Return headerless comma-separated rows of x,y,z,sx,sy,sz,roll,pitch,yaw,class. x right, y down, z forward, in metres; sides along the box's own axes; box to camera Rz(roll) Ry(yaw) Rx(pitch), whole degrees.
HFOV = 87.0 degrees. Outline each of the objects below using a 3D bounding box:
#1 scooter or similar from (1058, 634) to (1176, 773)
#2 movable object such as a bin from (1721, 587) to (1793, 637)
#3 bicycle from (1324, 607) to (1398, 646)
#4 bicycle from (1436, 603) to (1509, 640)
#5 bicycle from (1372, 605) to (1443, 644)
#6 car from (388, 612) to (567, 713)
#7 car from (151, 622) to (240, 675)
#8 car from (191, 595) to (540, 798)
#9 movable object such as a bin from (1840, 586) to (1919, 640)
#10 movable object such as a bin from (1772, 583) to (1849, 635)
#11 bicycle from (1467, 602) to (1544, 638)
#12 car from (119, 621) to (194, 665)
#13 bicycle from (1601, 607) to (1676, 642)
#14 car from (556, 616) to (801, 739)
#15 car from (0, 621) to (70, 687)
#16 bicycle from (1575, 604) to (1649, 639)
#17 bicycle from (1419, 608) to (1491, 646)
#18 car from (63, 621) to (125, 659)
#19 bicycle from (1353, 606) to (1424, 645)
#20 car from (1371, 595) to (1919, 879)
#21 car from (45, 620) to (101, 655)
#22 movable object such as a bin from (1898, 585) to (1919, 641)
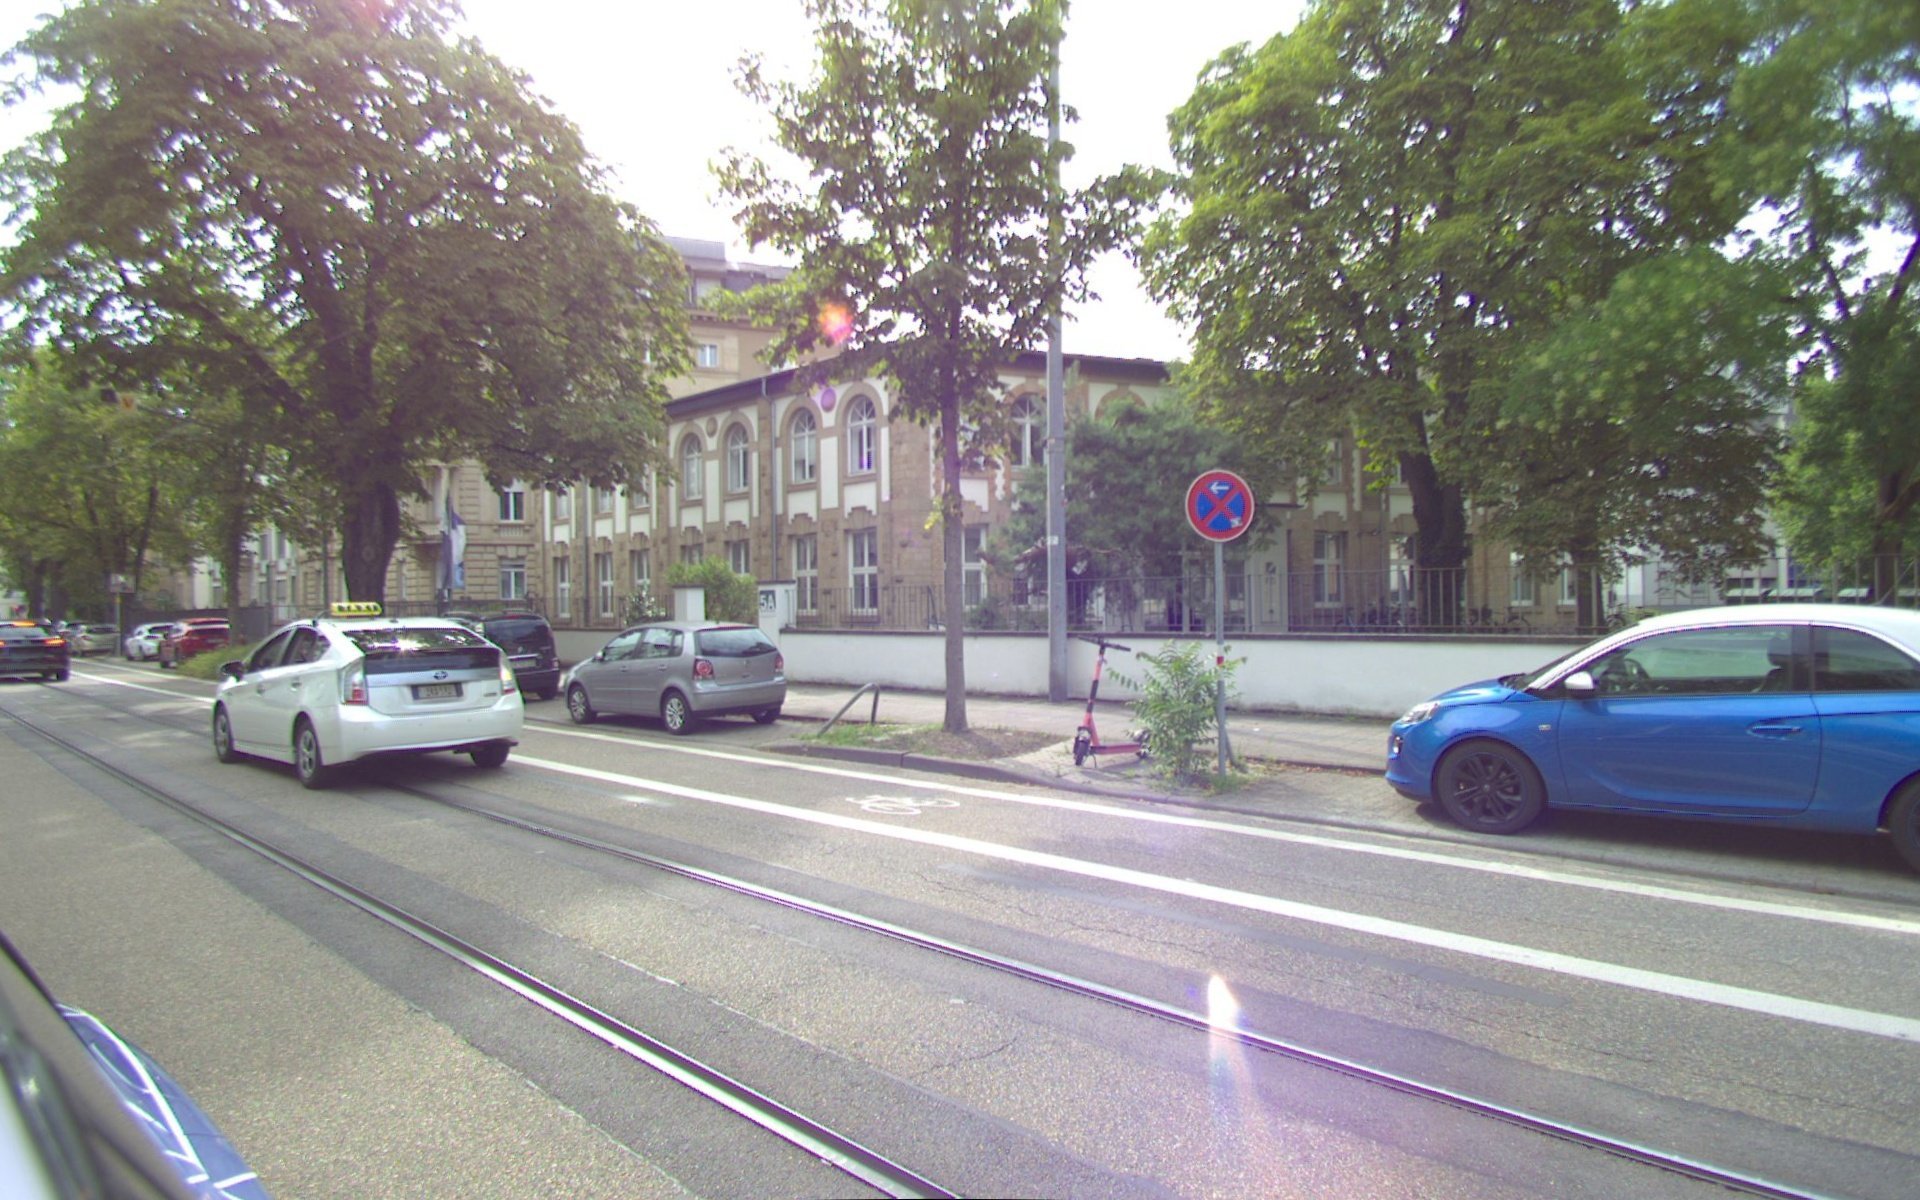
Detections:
1.477,0.944,9.499,0.988,1.176,0.370,-3,0,-25,scooter or similar
23.783,0.360,30.226,1.103,1.441,1.288,0,0,-21,movable object such as a bin
11.301,0.726,28.603,0.584,1.051,1.984,-1,0,-30,bicycle
15.167,0.627,30.004,0.584,1.051,1.984,-1,0,-23,bicycle
12.875,0.691,29.173,0.584,1.051,1.984,-1,0,-23,bicycle
-8.924,1.081,18.599,3.723,1.646,1.637,-2,-1,41,car
-25.681,1.589,33.964,3.904,1.646,1.637,-2,-1,41,car
-6.110,0.824,10.188,4.331,1.624,1.714,-1,-1,40,car
25.005,0.344,27.470,1.103,1.441,1.288,0,0,-21,movable object such as a bin
24.295,0.263,28.930,1.103,1.441,1.288,0,0,-21,movable object such as a bin
16.688,0.609,30.969,1.978,1.051,0.586,-1,0,44,bicycle
-31.911,1.685,40.158,3.904,1.613,1.637,-2,-1,41,car
21.837,0.776,32.598,0.584,1.051,1.984,-1,0,-23,bicycle
-4.020,0.997,14.201,3.572,1.476,1.611,-2,-1,41,car
-25.301,1.398,26.988,4.332,1.624,1.828,-2,-1,41,car
20.617,0.666,32.046,0.584,1.051,1.984,-1,0,-23,bicycle
14.475,0.783,29.665,0.584,1.051,1.984,-1,0,-23,bicycle
-40.077,1.833,46.814,3.904,1.646,1.637,-2,-1,41,car
12.179,0.721,28.840,0.584,1.051,1.984,-1,0,-23,bicycle
4.777,0.731,6.533,3.600,1.476,1.611,-2,-1,41,car
-45.427,1.903,51.807,3.904,1.646,1.637,-2,-1,41,car
25.384,0.340,26.150,1.103,1.441,1.288,0,0,-21,movable object such as a bin
